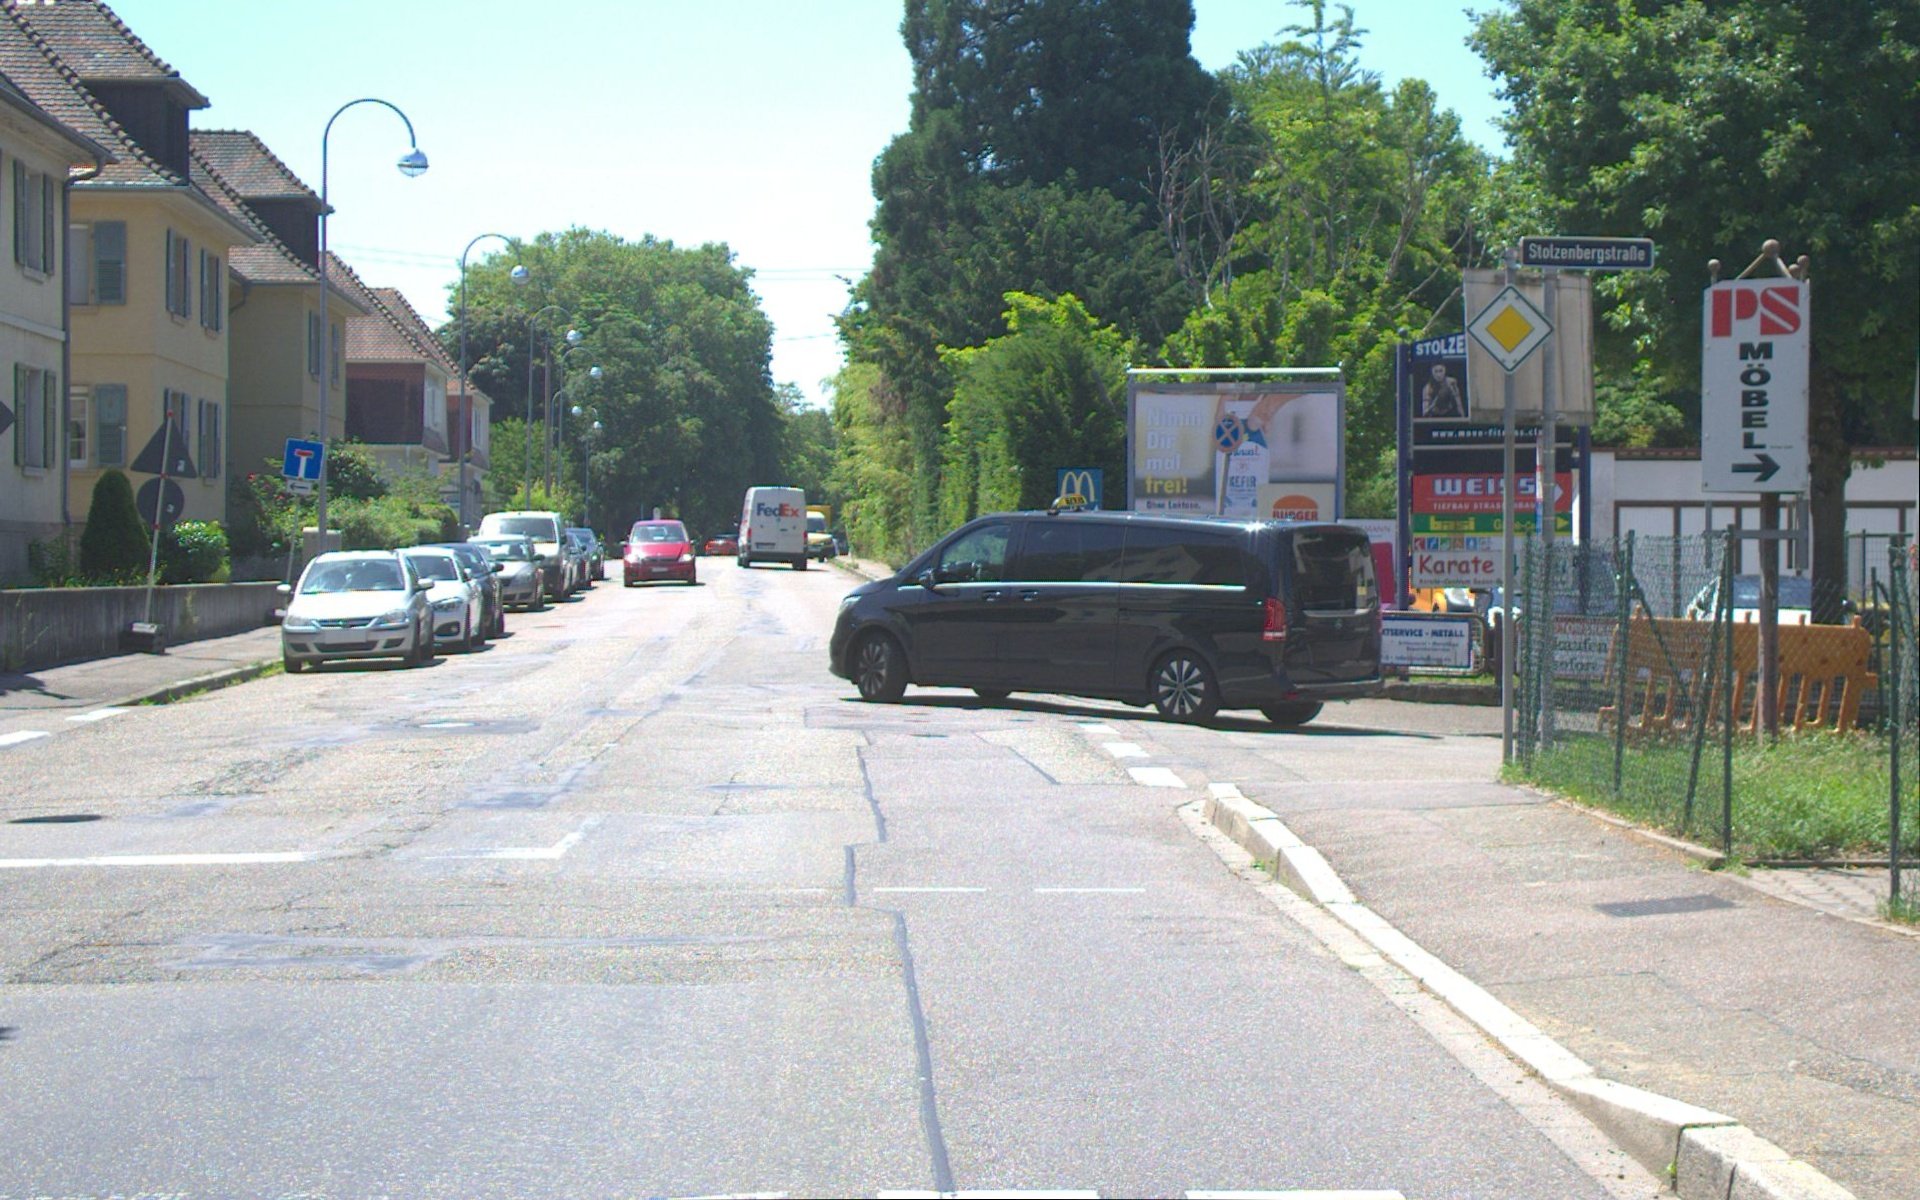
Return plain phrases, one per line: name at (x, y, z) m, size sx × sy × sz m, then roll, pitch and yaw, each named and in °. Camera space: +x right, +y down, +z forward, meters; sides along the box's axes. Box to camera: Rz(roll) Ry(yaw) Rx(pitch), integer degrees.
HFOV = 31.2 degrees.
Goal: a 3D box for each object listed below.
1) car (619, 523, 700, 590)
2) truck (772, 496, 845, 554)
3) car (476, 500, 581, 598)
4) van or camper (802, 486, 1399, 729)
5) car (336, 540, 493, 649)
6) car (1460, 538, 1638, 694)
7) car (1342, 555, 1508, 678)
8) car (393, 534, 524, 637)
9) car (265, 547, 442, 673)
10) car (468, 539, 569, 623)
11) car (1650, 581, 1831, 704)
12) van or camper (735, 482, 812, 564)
car at (-7.221, -1.065, 82.882) m, size 1.814 × 1.560 × 3.697 m, roll -1°, pitch 1°, yaw -3°
truck at (-6.006, -2.944, 135.603) m, size 2.355 × 2.250 × 6.093 m, roll 0°, pitch 1°, yaw -7°
car at (-9.245, -1.124, 73.908) m, size 1.878 × 1.956 × 4.626 m, roll -2°, pitch 2°, yaw -4°
van or camper at (1.207, 0.007, 31.339) m, size 5.264 × 2.007 × 1.905 m, roll 2°, pitch 1°, yaw 37°
car at (-7.534, -0.112, 47.770) m, size 1.794 × 1.397 × 4.220 m, roll -1°, pitch 1°, yaw -4°
car at (6.780, 0.134, 39.937) m, size 1.712 × 1.659 × 4.459 m, roll 2°, pitch 1°, yaw 6°
car at (7.591, 0.234, 56.455) m, size 1.774 × 1.793 × 4.166 m, roll 4°, pitch 1°, yaw -4°
car at (-7.681, -0.248, 52.904) m, size 1.715 × 1.480 × 4.077 m, roll -2°, pitch 1°, yaw -5°
car at (-7.519, 0.091, 42.922) m, size 1.759 × 1.442 × 3.925 m, roll -2°, pitch 1°, yaw -4°
car at (-8.503, -0.391, 66.480) m, size 1.686 × 1.520 × 4.063 m, roll 0°, pitch 1°, yaw -4°
car at (8.917, 0.456, 39.493) m, size 1.712 × 1.265 × 3.384 m, roll 1°, pitch 1°, yaw 8°
van or camper at (-5.942, -2.435, 108.988) m, size 2.262 × 2.519 × 4.760 m, roll -1°, pitch 1°, yaw -4°
